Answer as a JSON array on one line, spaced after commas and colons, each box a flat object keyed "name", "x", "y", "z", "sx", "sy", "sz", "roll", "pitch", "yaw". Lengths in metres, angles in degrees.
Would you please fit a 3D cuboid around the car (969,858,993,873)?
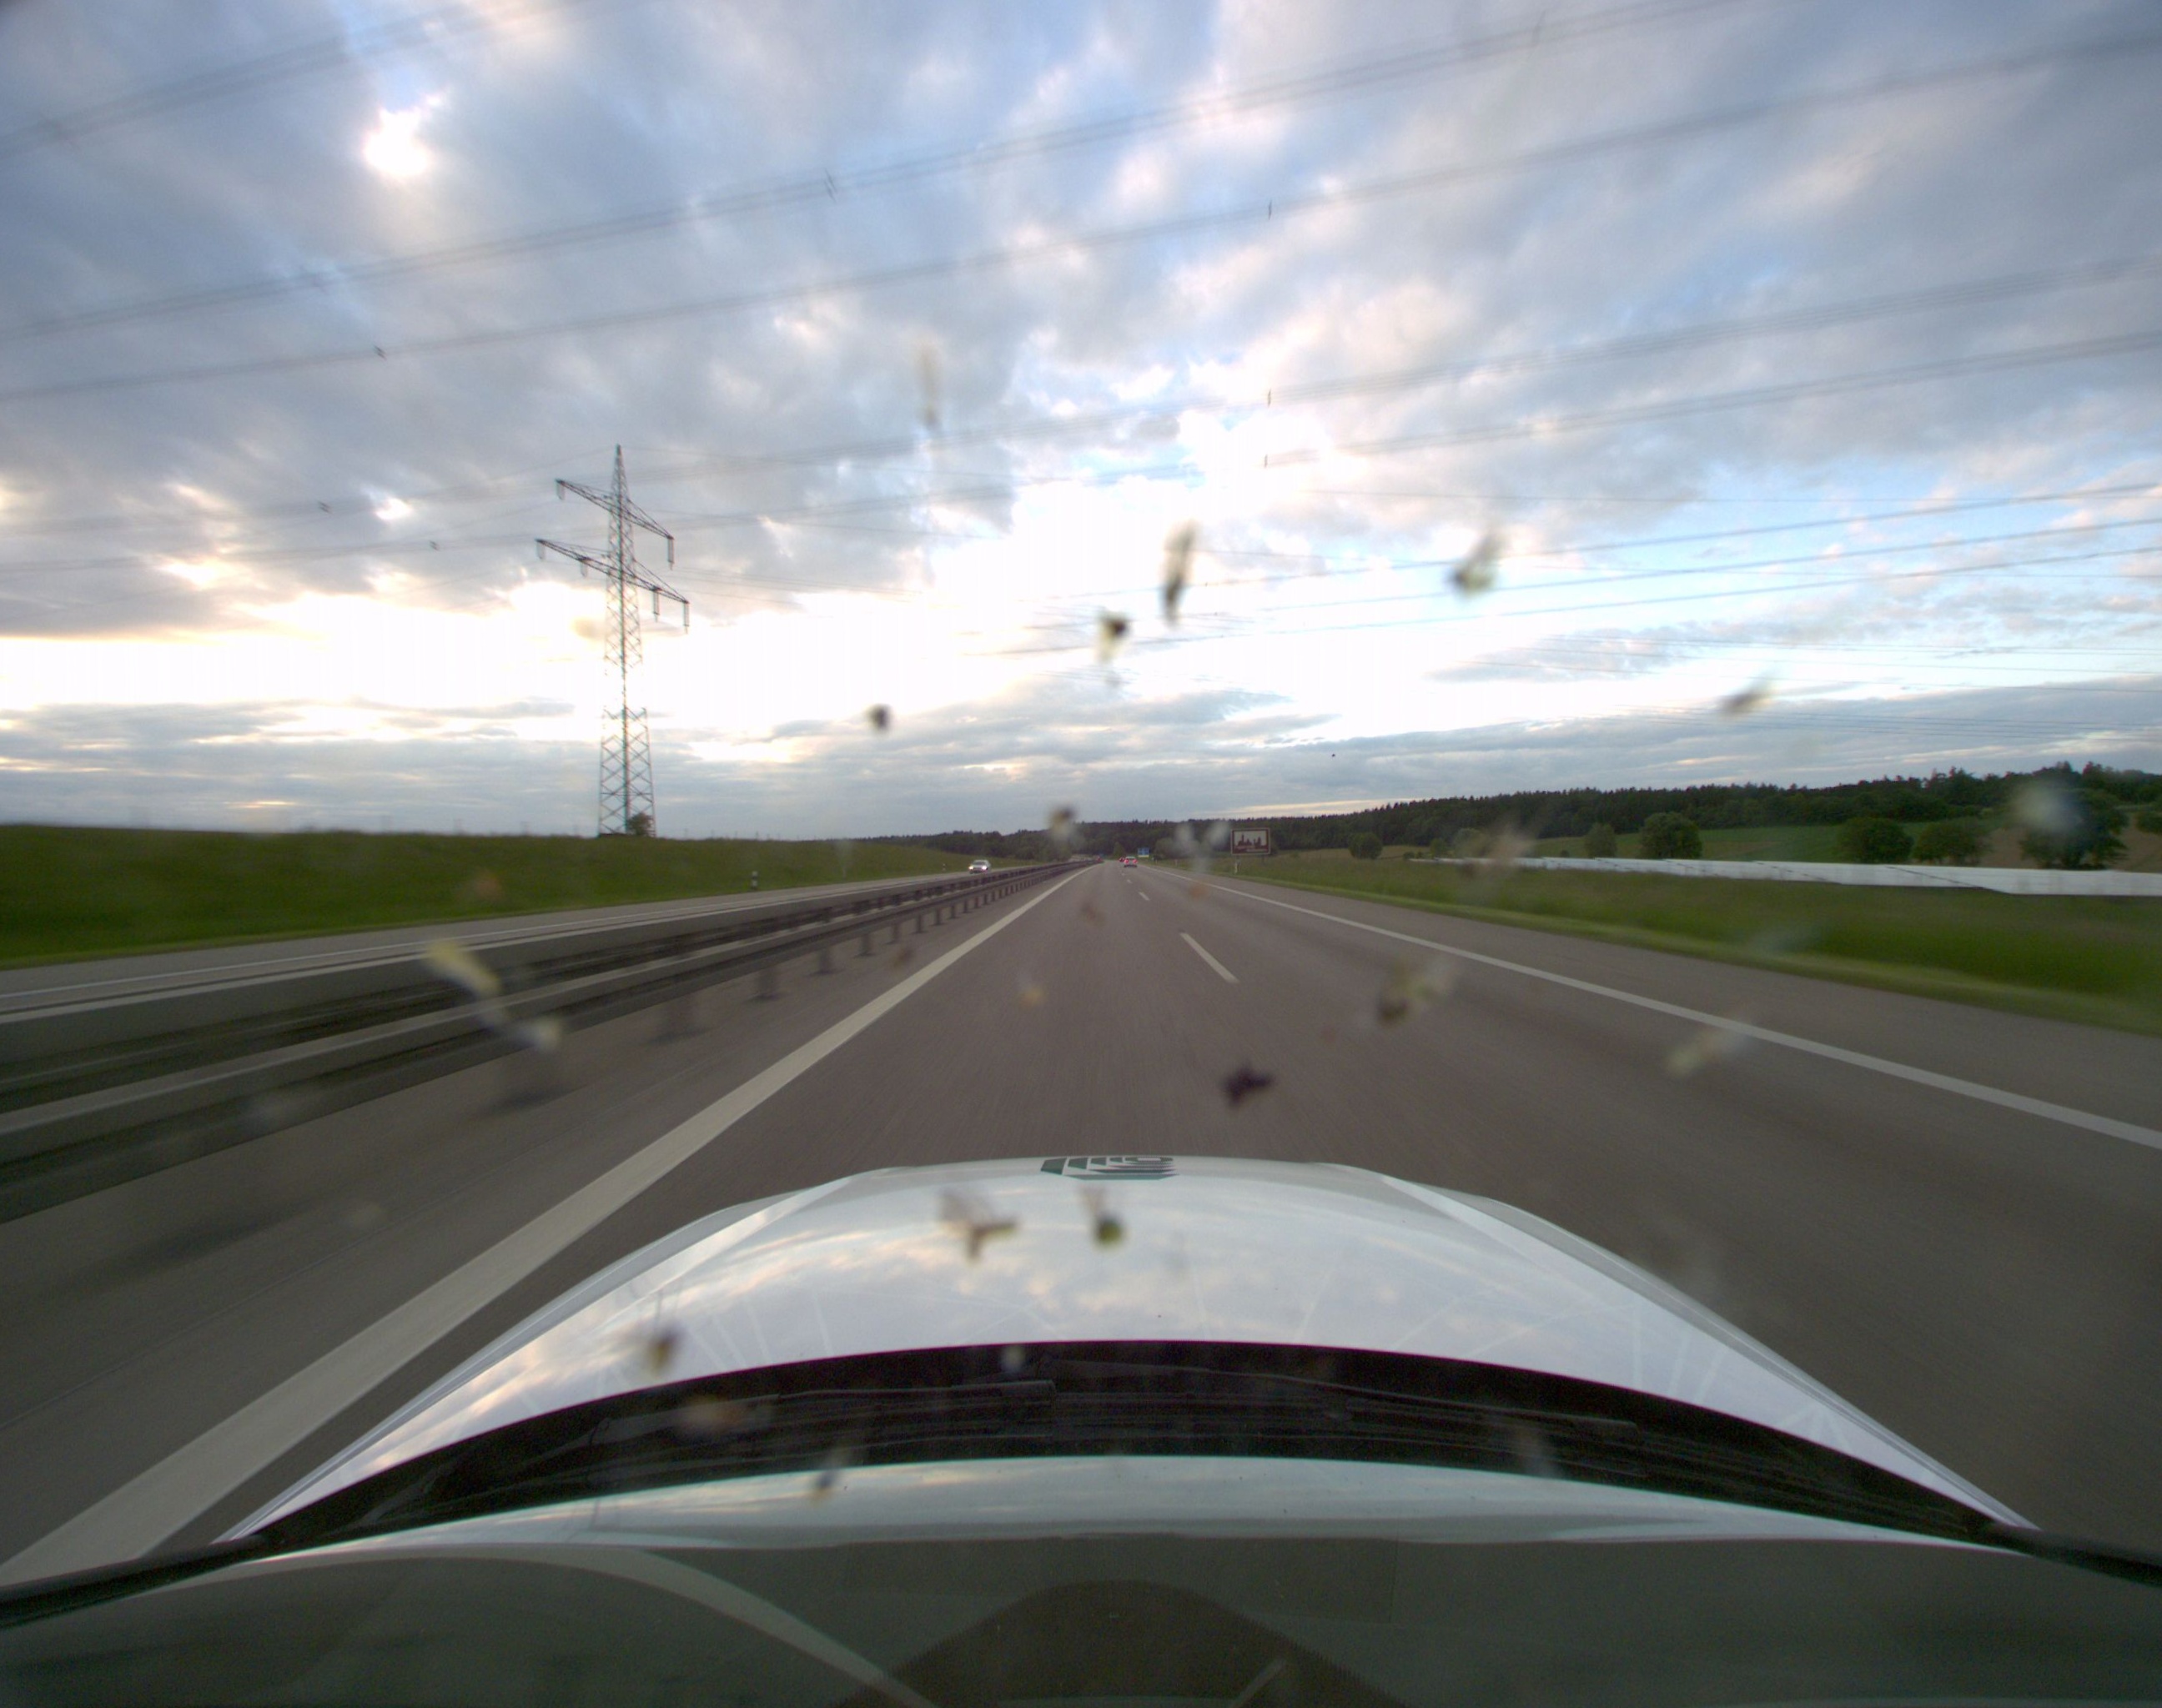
[{"name": "car", "x": -10.736, "y": 1.237, "z": 87.803, "sx": 1.758, "sy": 1.482, "sz": 5.337, "roll": 0, "pitch": 0, "yaw": 2}]

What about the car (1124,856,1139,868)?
[{"name": "car", "x": 6.976, "y": 1.089, "z": 113.092, "sx": 1.945, "sy": 1.531, "sz": 4.080, "roll": 0, "pitch": 0, "yaw": 0}]
